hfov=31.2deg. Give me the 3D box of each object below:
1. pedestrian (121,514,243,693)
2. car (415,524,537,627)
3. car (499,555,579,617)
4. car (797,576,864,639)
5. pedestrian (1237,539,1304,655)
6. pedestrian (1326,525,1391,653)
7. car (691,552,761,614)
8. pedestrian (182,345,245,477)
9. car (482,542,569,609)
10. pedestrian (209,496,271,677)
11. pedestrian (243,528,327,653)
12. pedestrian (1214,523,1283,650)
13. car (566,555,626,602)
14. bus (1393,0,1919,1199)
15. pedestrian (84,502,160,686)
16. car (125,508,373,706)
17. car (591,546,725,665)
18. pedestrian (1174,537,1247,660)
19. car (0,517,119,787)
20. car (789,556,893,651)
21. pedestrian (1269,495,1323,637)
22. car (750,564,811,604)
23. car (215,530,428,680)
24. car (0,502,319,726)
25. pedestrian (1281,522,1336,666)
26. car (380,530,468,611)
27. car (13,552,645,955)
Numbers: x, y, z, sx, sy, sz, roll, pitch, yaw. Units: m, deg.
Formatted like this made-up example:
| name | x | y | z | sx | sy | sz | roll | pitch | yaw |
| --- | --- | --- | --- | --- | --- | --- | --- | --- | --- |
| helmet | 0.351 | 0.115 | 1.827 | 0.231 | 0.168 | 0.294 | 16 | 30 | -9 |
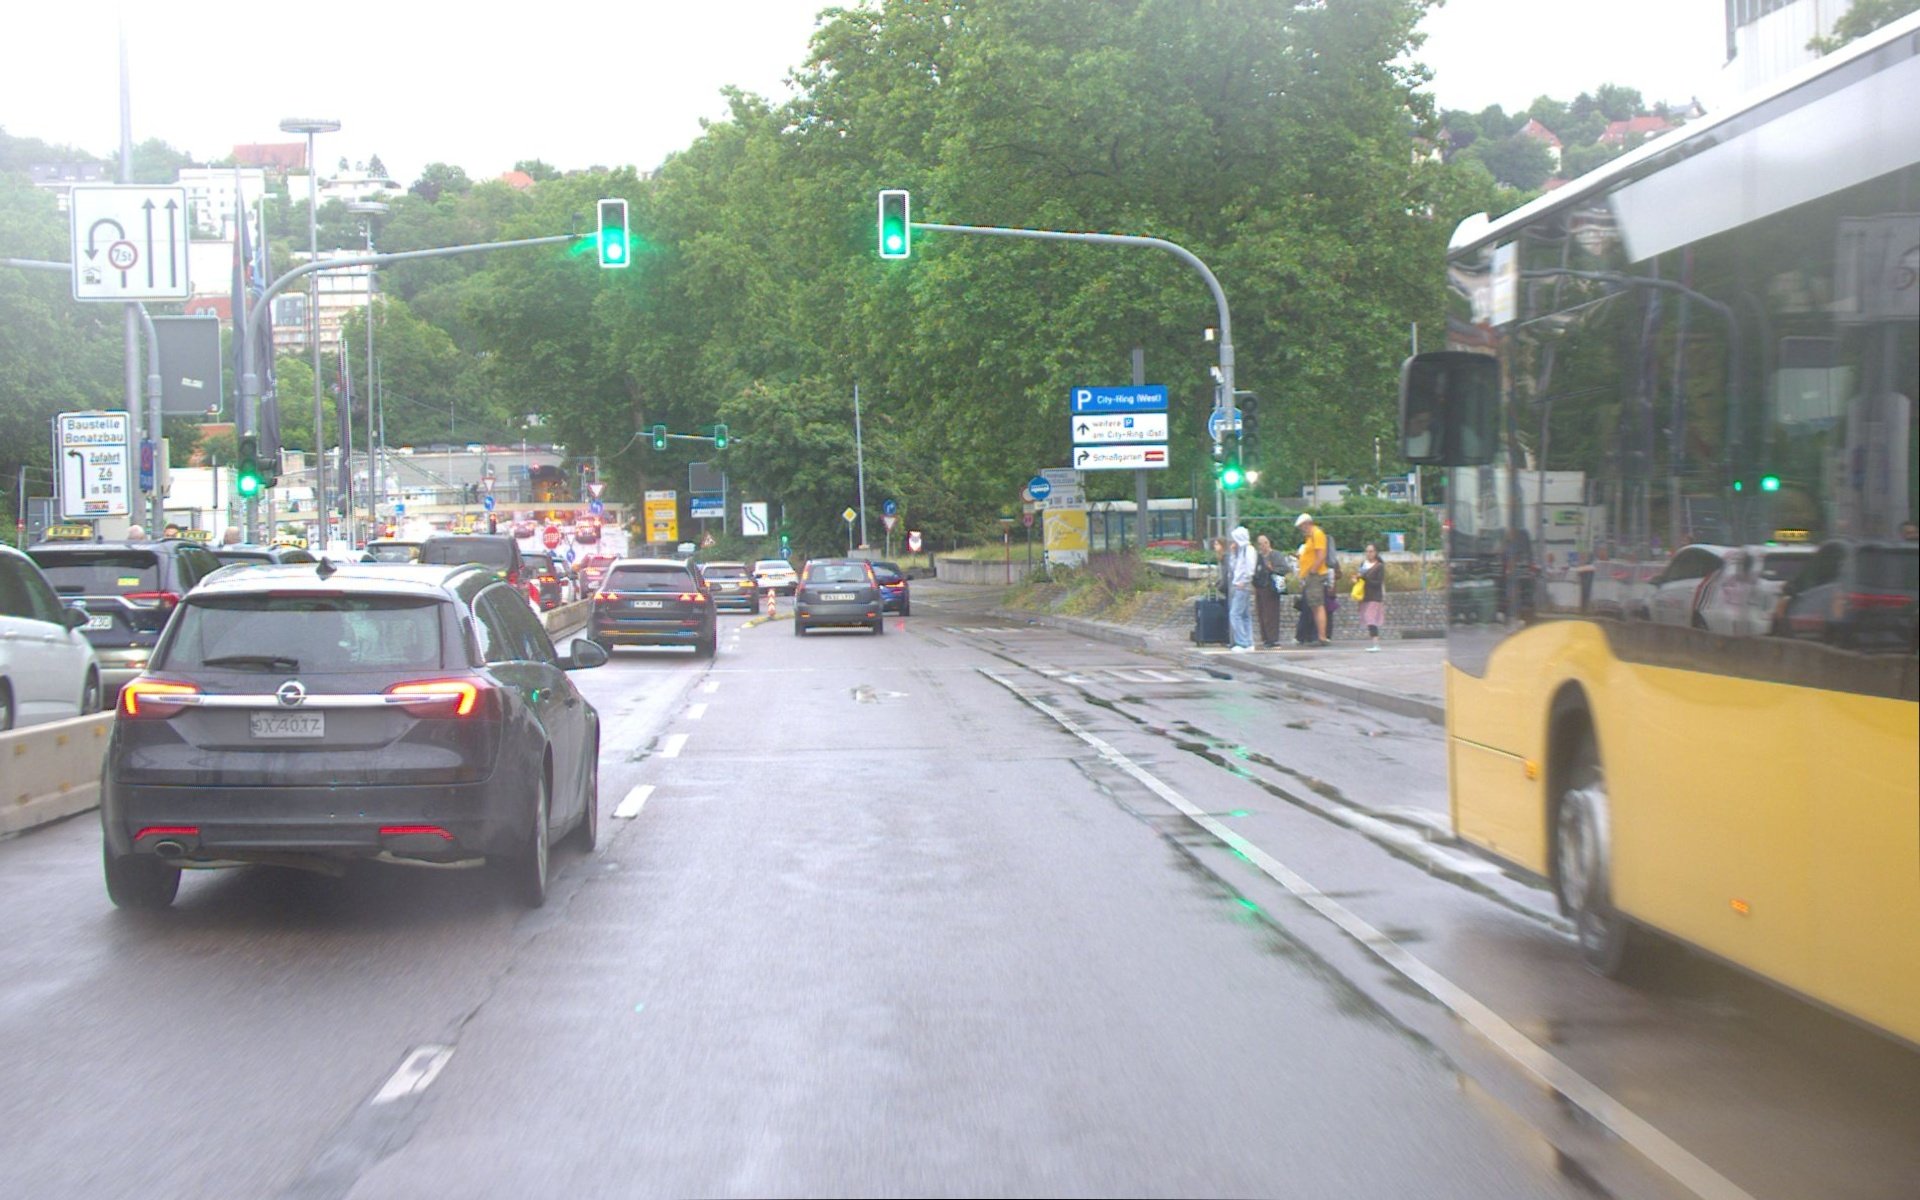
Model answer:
| name | x | y | z | sx | sy | sz | roll | pitch | yaw |
| --- | --- | --- | --- | --- | --- | --- | --- | --- | --- |
| pedestrian | -8.872 | 0.030 | 39.208 | 0.835 | 2.007 | 1.026 | 0 | 1 | 36 |
| car | -8.928 | -0.455 | 63.737 | 1.993 | 1.839 | 5.063 | 0 | 0 | -5 |
| car | -11.569 | -0.390 | 94.732 | 1.993 | 1.562 | 4.877 | -3 | 1 | -5 |
| car | -3.317 | 0.186 | 88.449 | 1.674 | 1.576 | 3.240 | 0 | 0 | -2 |
| pedestrian | 4.601 | -0.053 | 50.954 | 0.875 | 1.685 | 0.758 | -1 | 1 | -1 |
| pedestrian | 5.688 | -0.158 | 49.061 | 0.539 | 1.798 | 0.758 | -2 | 1 | -29 |
| car | -6.544 | -0.472 | 96.481 | 1.903 | 1.711 | 4.000 | 0 | 0 | -3 |
| pedestrian | -10.810 | -2.737 | 49.817 | 0.830 | 1.879 | 0.691 | -2 | 3 | -11 |
| car | -10.041 | -0.566 | 79.671 | 1.823 | 1.506 | 4.491 | 0 | 0 | -5 |
| pedestrian | -8.097 | -0.162 | 38.686 | 0.527 | 2.007 | 0.891 | -1 | 1 | -4 |
| pedestrian | -10.248 | -0.147 | 52.191 | 1.005 | 1.880 | 0.682 | -1 | 1 | 21 |
| pedestrian | 4.156 | -0.193 | 49.494 | 0.745 | 1.798 | 0.710 | -2 | 1 | -16 |
| car | -14.302 | -0.841 | 134.960 | 1.993 | 1.820 | 4.001 | 0 | 0 | -11 |
| bus | 3.556 | -0.075 | 10.259 | 3.113 | 3.194 | 9.243 | 0 | 0 | -2 |
| pedestrian | -9.312 | -0.072 | 38.221 | 0.621 | 2.007 | 0.836 | -1 | 1 | -2 |
| car | -7.346 | 0.037 | 35.936 | 1.713 | 1.885 | 4.610 | -2 | 1 | -2 |
| car | -4.498 | 0.050 | 51.649 | 1.830 | 1.680 | 4.134 | -1 | 1 | -3 |
| pedestrian | 3.805 | -0.023 | 52.224 | 0.786 | 1.832 | 0.950 | -2 | 1 | -16 |
| car | -7.443 | 0.346 | 24.471 | 1.993 | 1.781 | 4.455 | -2 | 1 | -3 |
| car | -2.265 | 0.055 | 64.331 | 1.851 | 1.711 | 4.000 | 0 | 0 | -3 |
| pedestrian | 5.156 | -0.522 | 52.779 | 0.709 | 2.138 | 0.721 | -2 | 1 | 10 |
| car | -7.173 | -0.624 | 136.852 | 1.813 | 1.569 | 4.001 | 0 | 0 | -12 |
| car | -7.735 | 0.026 | 42.032 | 1.786 | 1.680 | 4.667 | -2 | 1 | -1 |
| car | -7.071 | 0.086 | 30.496 | 1.993 | 1.781 | 4.848 | -2 | 1 | -2 |
| pedestrian | 5.228 | -0.097 | 51.600 | 0.554 | 2.138 | 0.668 | -2 | 1 | -16 |
| car | -13.675 | -0.752 | 87.912 | 1.993 | 2.007 | 5.371 | 0 | 0 | -6 |
| car | -2.612 | 0.552 | 15.448 | 1.877 | 1.503 | 4.852 | -1 | 1 | 1 |
